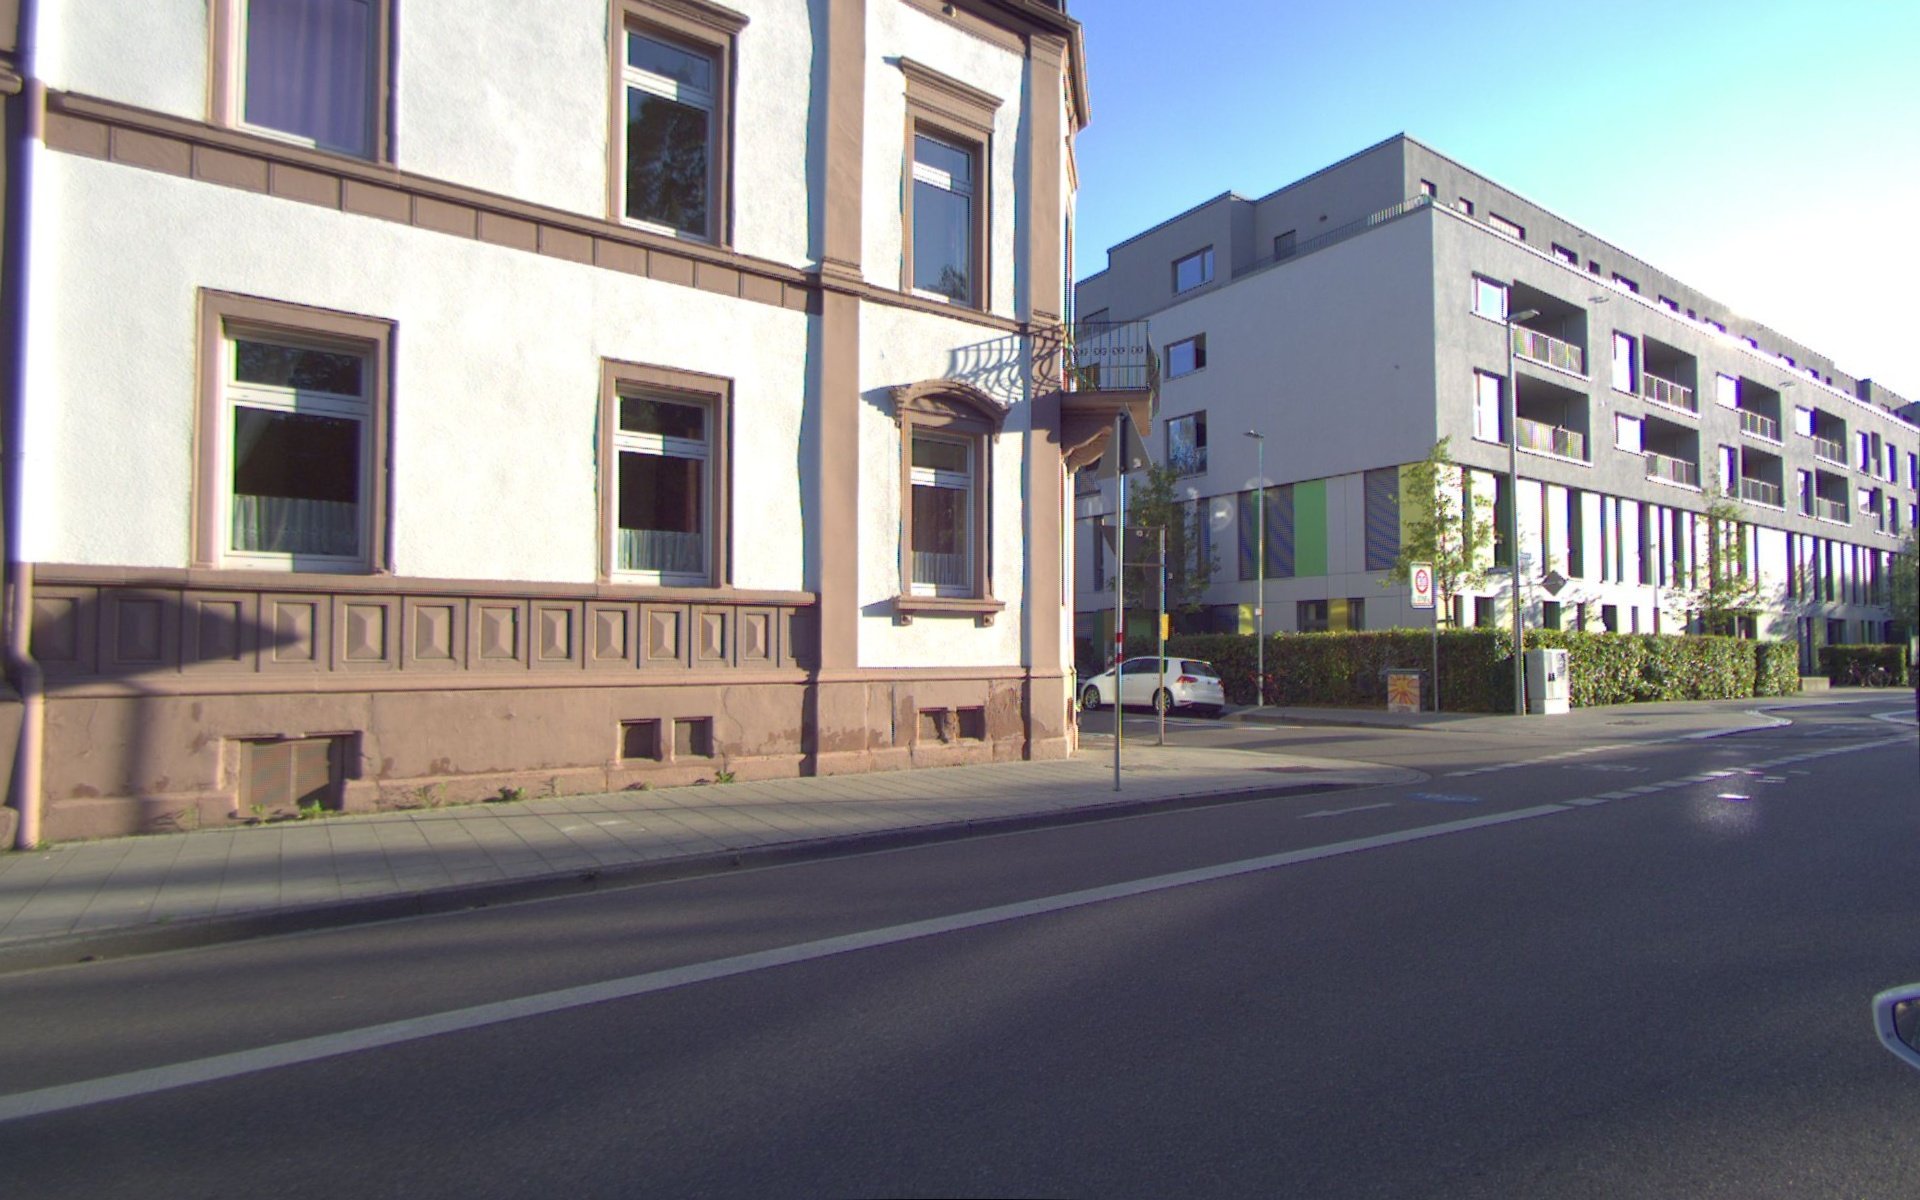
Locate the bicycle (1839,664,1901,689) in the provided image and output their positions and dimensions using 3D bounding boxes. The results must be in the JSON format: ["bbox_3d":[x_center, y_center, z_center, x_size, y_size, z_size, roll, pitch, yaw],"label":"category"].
[{"bbox_3d":[36.033,3.017,39.792,0.612,0.930,1.739,2,-2,-36],"label":"bicycle"}]

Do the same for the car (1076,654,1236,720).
[{"bbox_3d":[4.914,2.178,25.615,1.800,1.456,3.884,7,-6,-32],"label":"car"}]

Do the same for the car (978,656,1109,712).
[{"bbox_3d":[2.348,2.397,29.070,1.736,1.394,3.884,7,-7,-32],"label":"car"}]

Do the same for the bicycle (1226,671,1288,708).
[{"bbox_3d":[7.818,2.343,26.475,0.507,0.904,1.587,2,-3,-35],"label":"bicycle"}]

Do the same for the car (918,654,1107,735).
[{"bbox_3d":[0.983,1.861,20.662,1.886,1.457,3.880,2,-3,-36],"label":"car"}]
